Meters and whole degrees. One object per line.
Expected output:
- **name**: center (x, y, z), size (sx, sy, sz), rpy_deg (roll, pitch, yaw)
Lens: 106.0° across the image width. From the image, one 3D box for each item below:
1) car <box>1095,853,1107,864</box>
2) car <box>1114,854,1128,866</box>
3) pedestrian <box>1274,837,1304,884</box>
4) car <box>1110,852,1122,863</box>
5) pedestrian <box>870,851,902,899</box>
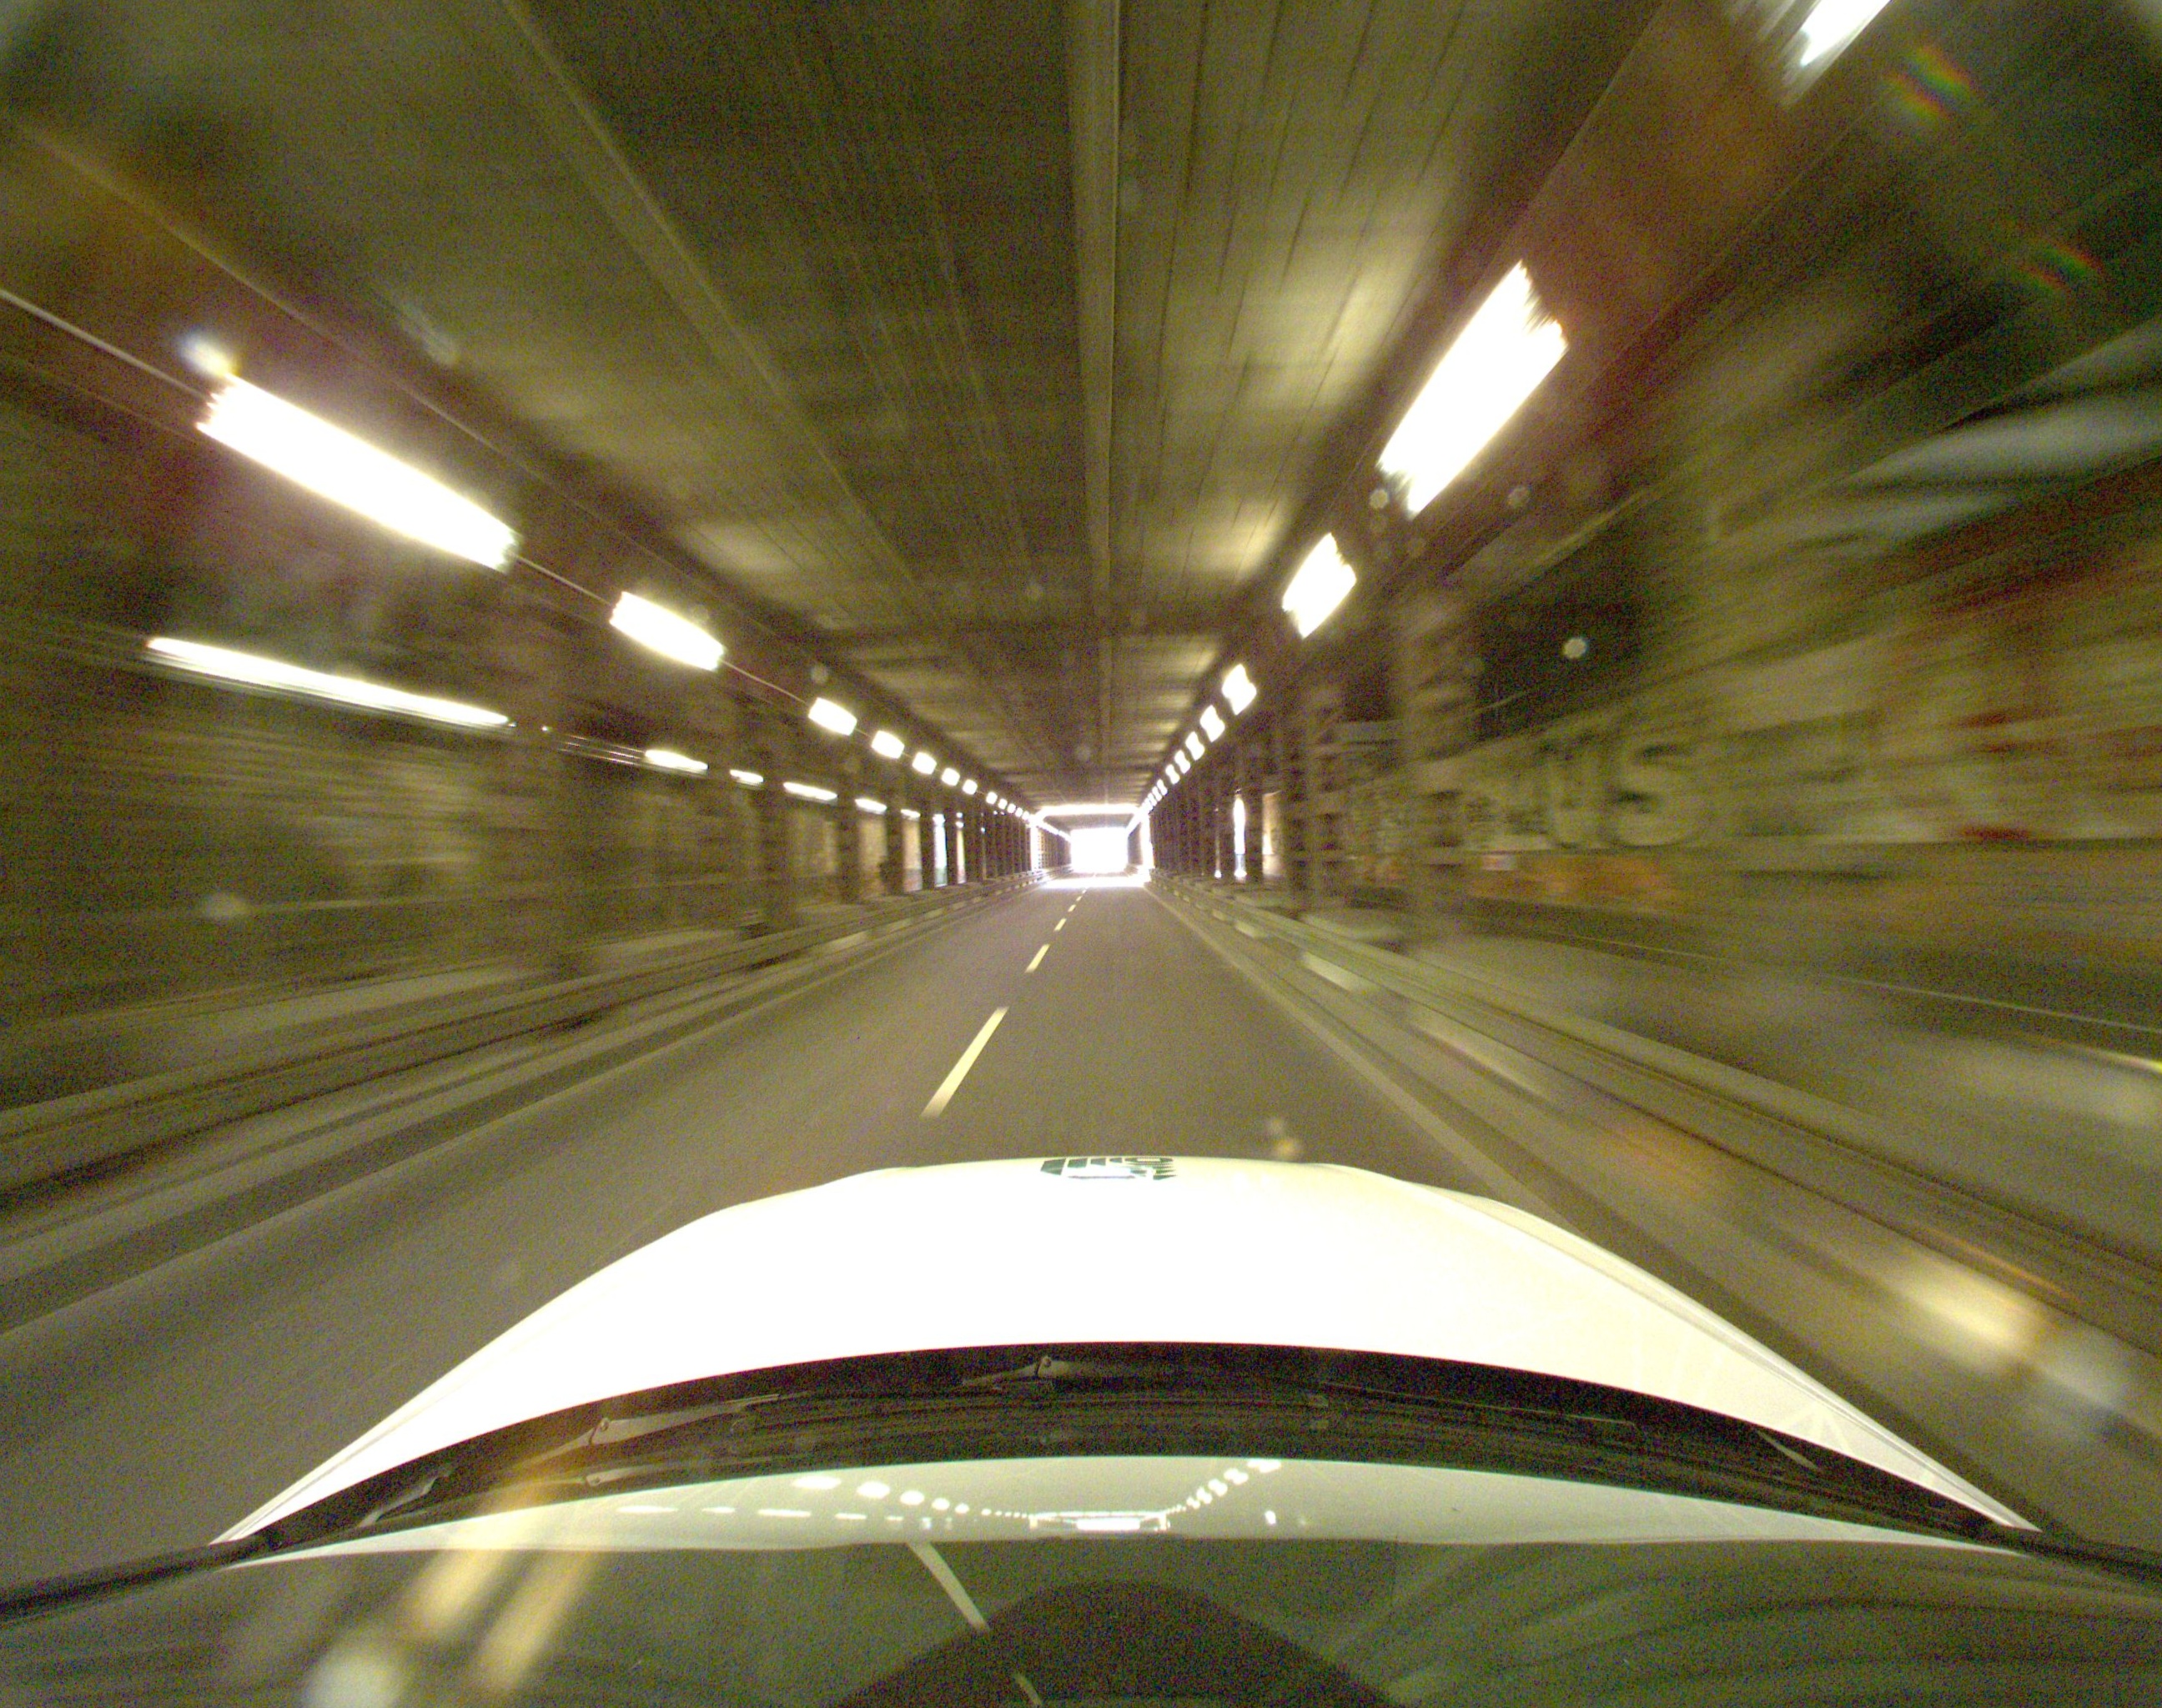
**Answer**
- **car**: center (3.601, 0.827, 143.733), size (1.986, 1.784, 4.002), rpy_deg (-3, 0, 2)
- **car**: center (6.266, 0.915, 127.781), size (1.986, 1.784, 4.002), rpy_deg (-3, 0, 2)
- **pedestrian**: center (7.881, 0.234, 30.888), size (0.797, 1.701, 1.111), rpy_deg (-4, 0, 1)
- **car**: center (5.866, 0.555, 137.506), size (1.986, 1.784, 4.002), rpy_deg (-3, 0, 2)
- **pedestrian**: center (-8.522, 0.922, 35.652), size (0.955, 2.055, 1.356), rpy_deg (-2, -2, 2)
